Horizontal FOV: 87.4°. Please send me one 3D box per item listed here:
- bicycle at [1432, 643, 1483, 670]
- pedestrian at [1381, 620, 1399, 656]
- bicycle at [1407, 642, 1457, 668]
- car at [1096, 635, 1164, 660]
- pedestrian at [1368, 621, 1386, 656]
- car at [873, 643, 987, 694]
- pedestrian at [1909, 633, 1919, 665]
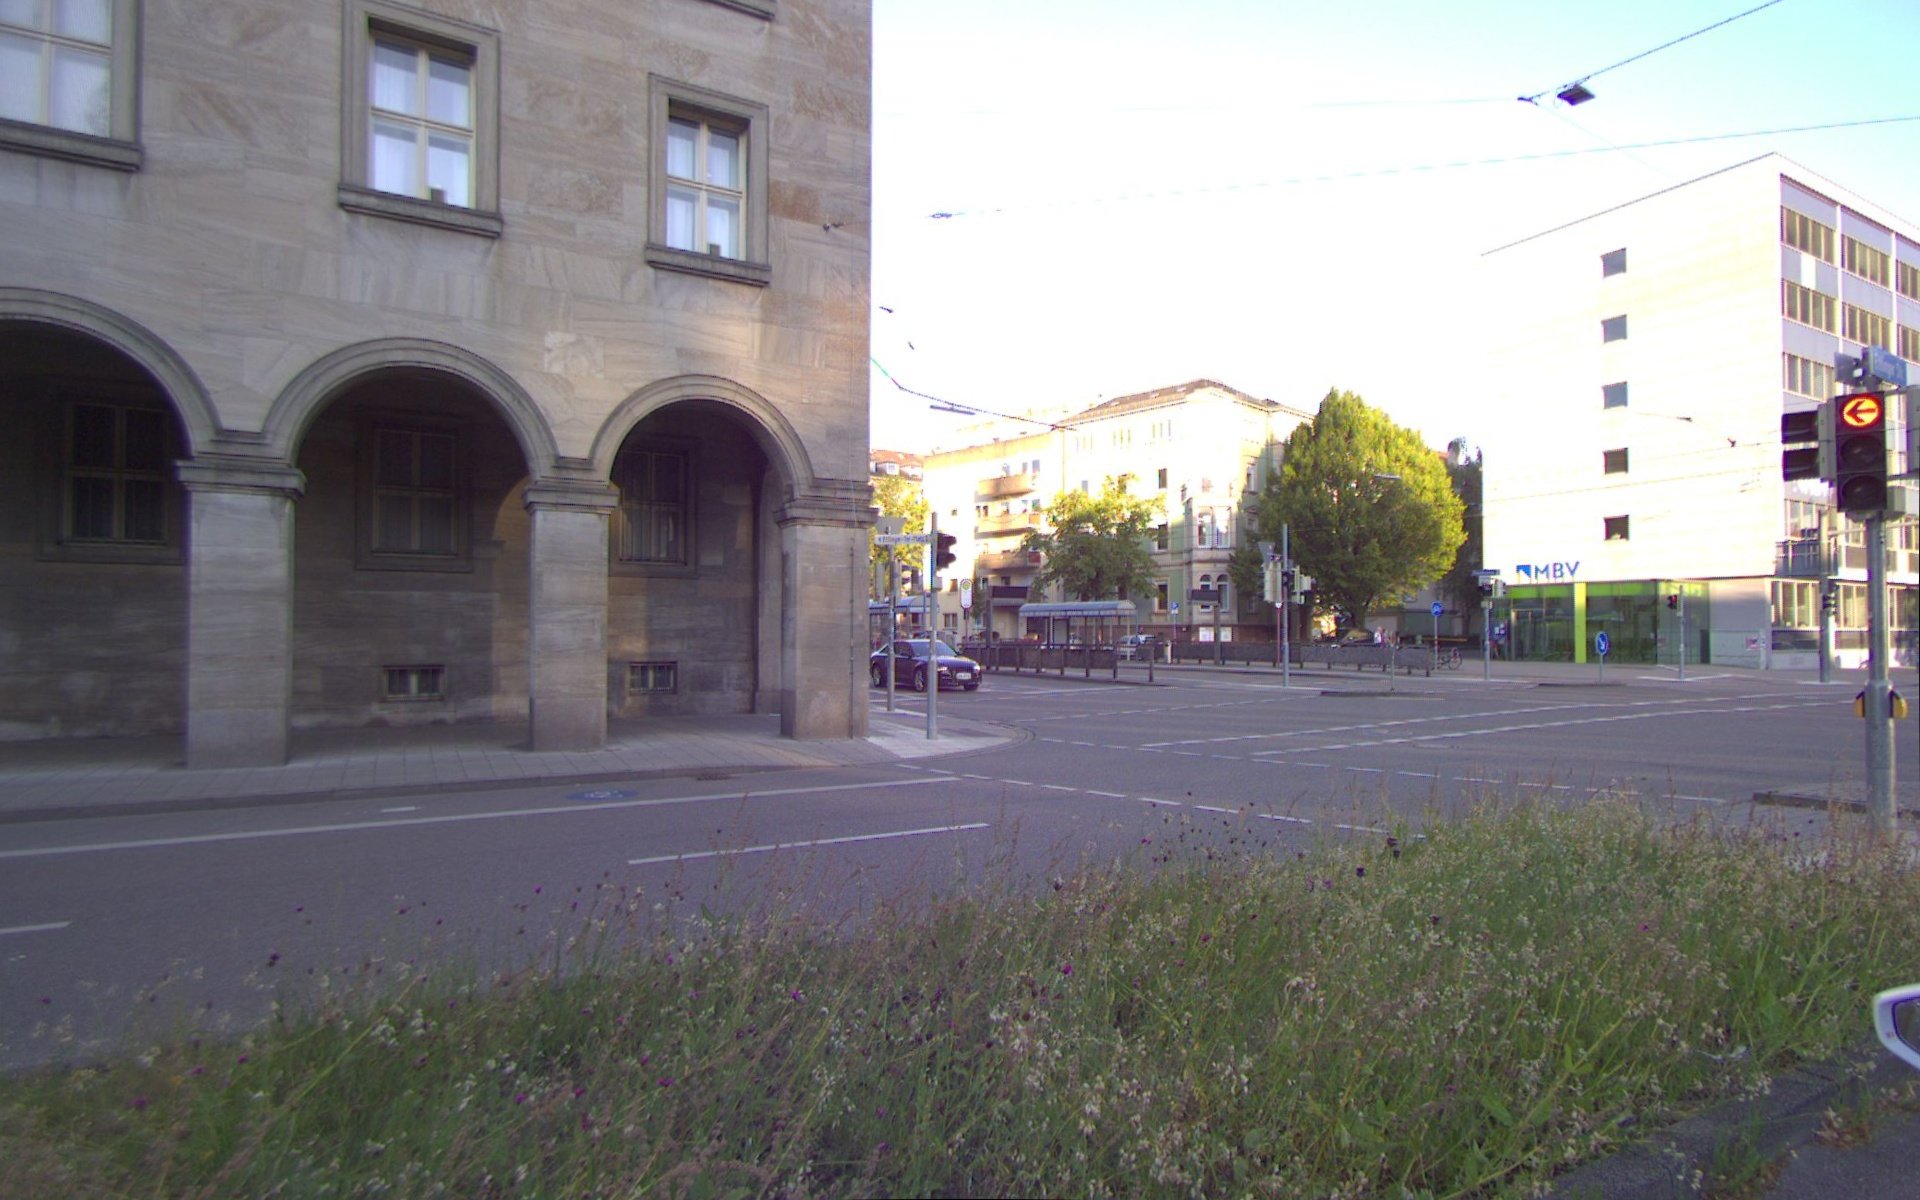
[{"bbox_3d":[21.601,2.447,43.606,2.183,1.127,0.834,1,-2,-26],"label":"bicycle"},{"bbox_3d":[22.191,1.964,51.859,0.718,1.813,0.634,2,-2,-43],"label":"pedestrian"},{"bbox_3d":[20.999,2.438,44.691,2.183,1.127,0.834,1,-2,-26],"label":"bicycle"},{"bbox_3d":[10.017,2.770,59.209,3.545,1.390,1.830,-2,-3,45],"label":"car"},{"bbox_3d":[21.432,1.977,51.633,0.718,1.813,0.634,2,-2,-44],"label":"pedestrian"},{"bbox_3d":[-0.971,1.964,29.701,1.791,1.344,4.120,1,-2,-27],"label":"car"},{"bbox_3d":[51.033,2.601,53.508,0.494,1.701,0.549,1,-2,-30],"label":"pedestrian"}]
